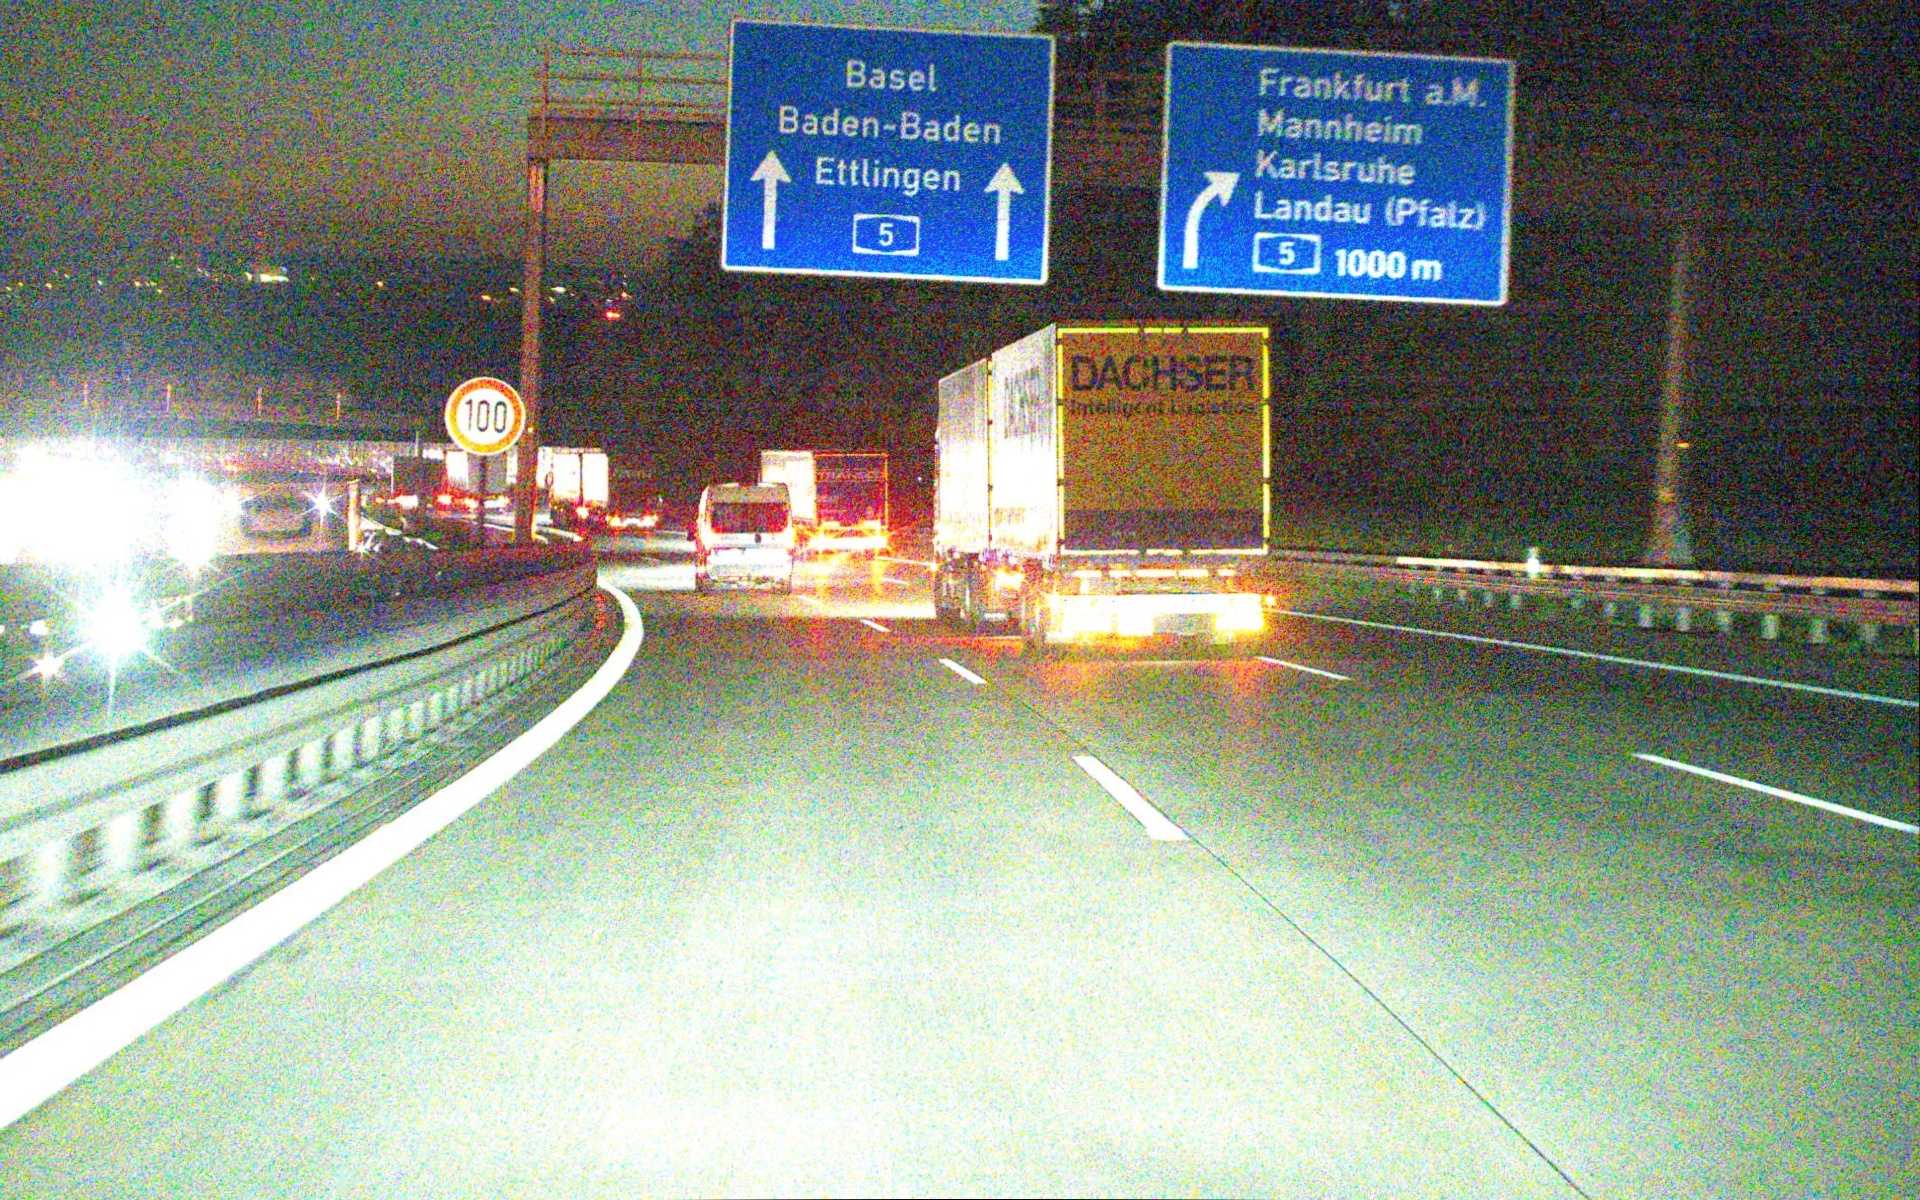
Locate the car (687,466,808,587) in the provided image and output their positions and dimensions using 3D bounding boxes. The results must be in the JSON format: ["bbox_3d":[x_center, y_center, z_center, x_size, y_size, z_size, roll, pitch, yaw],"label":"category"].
[{"bbox_3d":[-4.896,-1.667,78.483,2.336,2.631,5.249,0,1,-8],"label":"car"}]

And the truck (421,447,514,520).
[{"bbox_3d":[-32.448,-7.735,226.081,3.343,4.460,13.915,2,2,-19],"label":"truck"}]

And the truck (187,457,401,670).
[{"bbox_3d":[-11.929,-0.688,62.267,2.654,3.579,8.551,0,1,-3],"label":"truck"}]

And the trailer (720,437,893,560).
[{"bbox_3d":[-5.633,-3.734,122.899,2.853,4.053,13.211,-1,3,-17],"label":"trailer"}]

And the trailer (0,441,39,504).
[{"bbox_3d":[-66.623,-8.941,240.177,2.839,4.157,13.289,-4,4,-21],"label":"trailer"}]

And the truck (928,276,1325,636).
[{"bbox_3d":[1.849,-1.821,49.075,3.482,4.120,18.712,0,1,-4],"label":"truck"}]

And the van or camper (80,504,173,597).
[{"bbox_3d":[-25.686,-1.556,106.094,2.444,2.751,6.491,-1,2,-11],"label":"van or camper"}]

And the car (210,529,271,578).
[{"bbox_3d":[-22.760,-1.475,108.789,1.606,1.474,4.075,-1,1,-8],"label":"car"}]

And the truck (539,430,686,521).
[{"bbox_3d":[-19.121,-6.847,187.046,3.914,4.611,21.026,-2,3,-17],"label":"truck"}]

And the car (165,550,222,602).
[{"bbox_3d":[-30.206,-0.967,135.343,1.993,1.953,4.988,-2,1,-14],"label":"car"}]

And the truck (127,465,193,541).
[{"bbox_3d":[-36.008,-4.350,154.584,2.375,3.248,7.726,-3,2,-16],"label":"truck"}]

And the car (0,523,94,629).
[{"bbox_3d":[-21.630,-0.599,80.907,1.833,2.362,5.449,-1,1,-9],"label":"car"}]

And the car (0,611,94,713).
[{"bbox_3d":[-14.827,0.964,54.365,1.600,1.437,4.139,-1,1,-6],"label":"car"}]
